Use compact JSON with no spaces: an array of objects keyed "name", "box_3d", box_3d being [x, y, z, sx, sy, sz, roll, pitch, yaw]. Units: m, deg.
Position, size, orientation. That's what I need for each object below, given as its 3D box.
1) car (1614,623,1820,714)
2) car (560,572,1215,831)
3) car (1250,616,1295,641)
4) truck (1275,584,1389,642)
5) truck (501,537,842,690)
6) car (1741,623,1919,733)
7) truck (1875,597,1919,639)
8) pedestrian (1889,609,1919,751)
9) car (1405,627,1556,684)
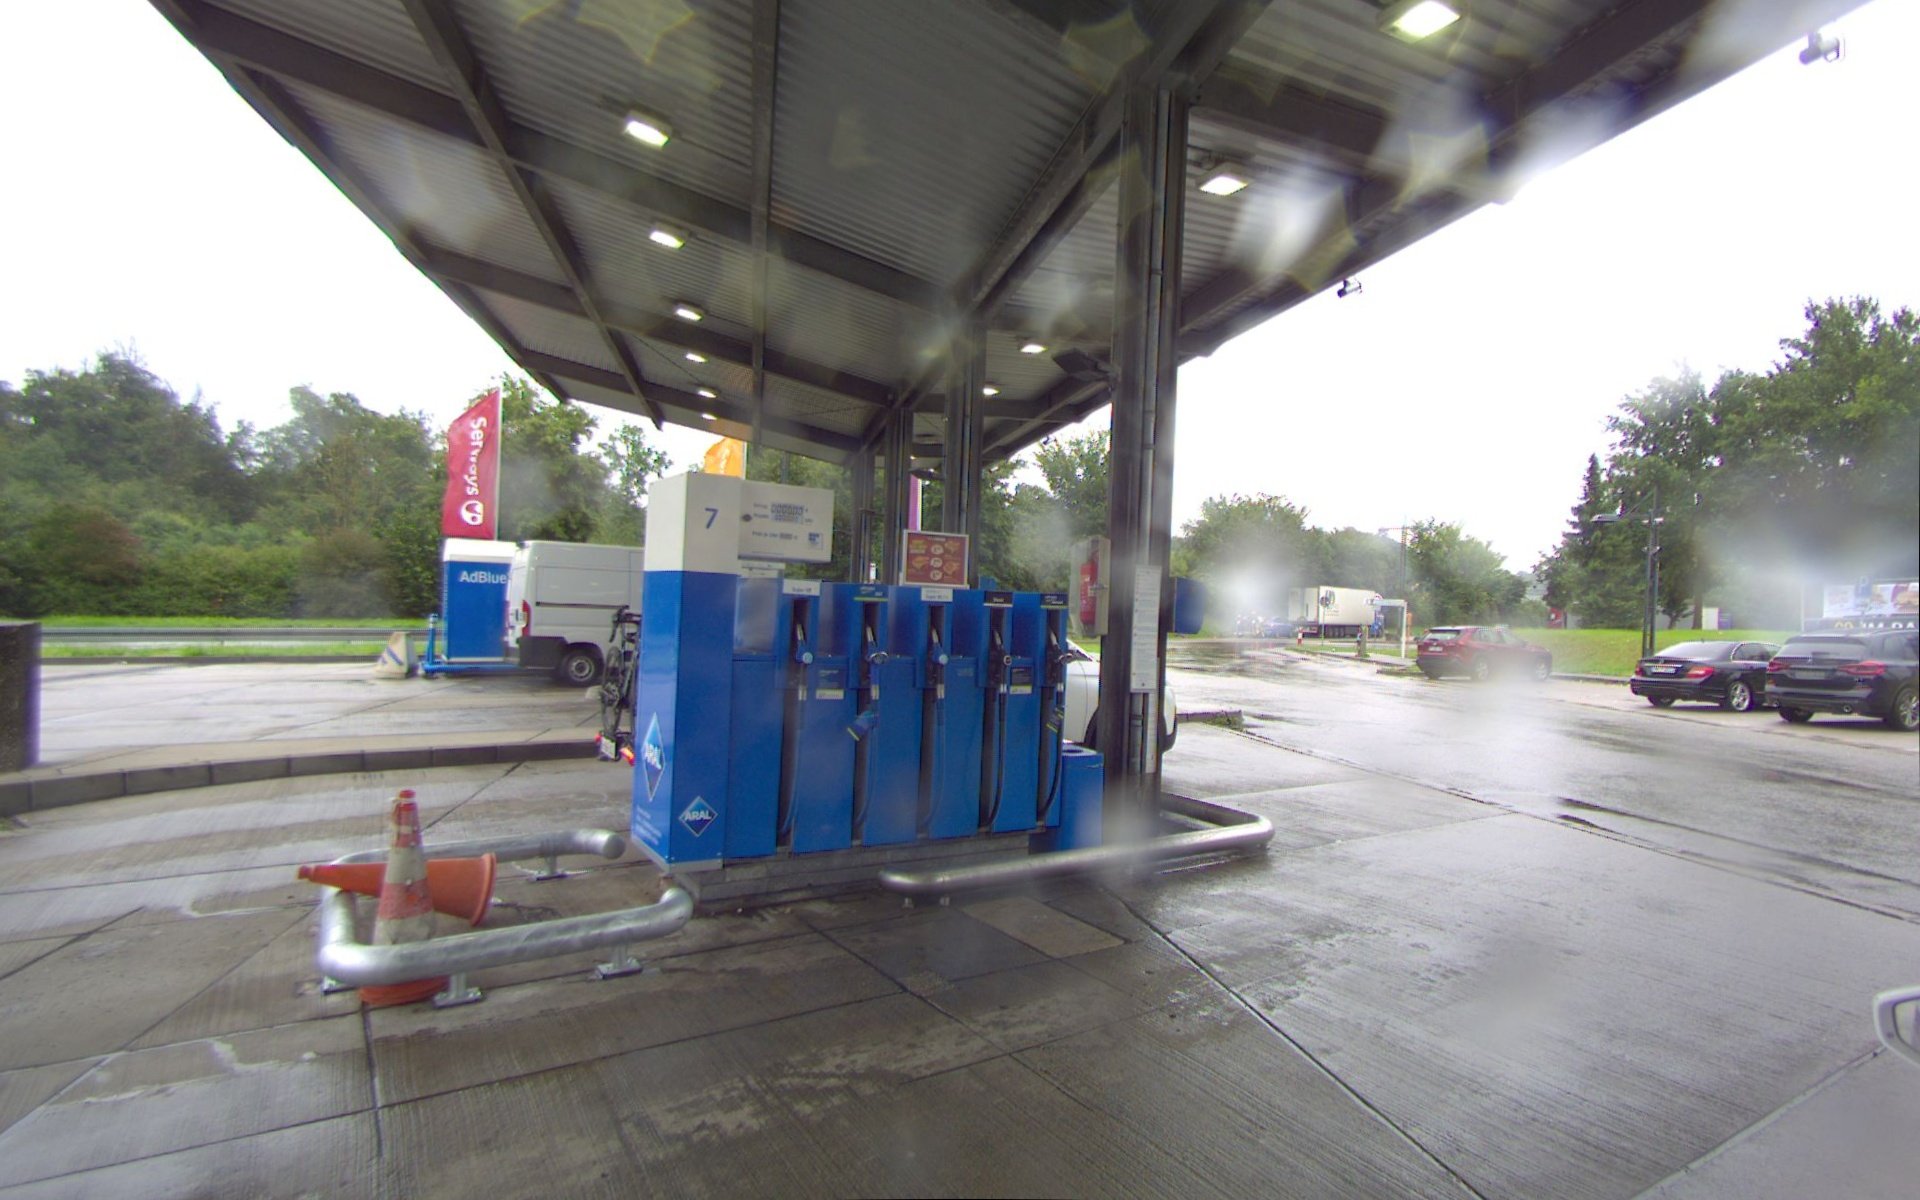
[{"name":"car","box_3d":[15.924,1.357,21.085,4.293,1.734,2.007,1,-2,-31]},{"name":"car","box_3d":[-0.444,0.702,8.453,5.210,1.629,1.852,2,0,-30]},{"name":"car","box_3d":[22.885,2.063,73.431,1.787,1.704,3.934,2,0,40]},{"name":"truck","box_3d":[31.861,1.187,85.146,3.498,4.397,16.922,2,0,40]},{"name":"truck","box_3d":[-5.356,0.293,18.934,5.793,2.527,2.221,2,0,-30]},{"name":"car","box_3d":[16.154,1.272,17.462,4.274,1.734,2.016,1,-1,-18]},{"name":"truck","box_3d":[68.836,1.324,71.695,5.285,2.959,2.191,2,0,-5]},{"name":"pedestrian","box_3d":[13.254,1.085,13.443,0.691,1.912,0.952,2,0,-8]},{"name":"car","box_3d":[16.058,1.671,30.996,4.283,1.666,1.933,1,-2,-25]}]
